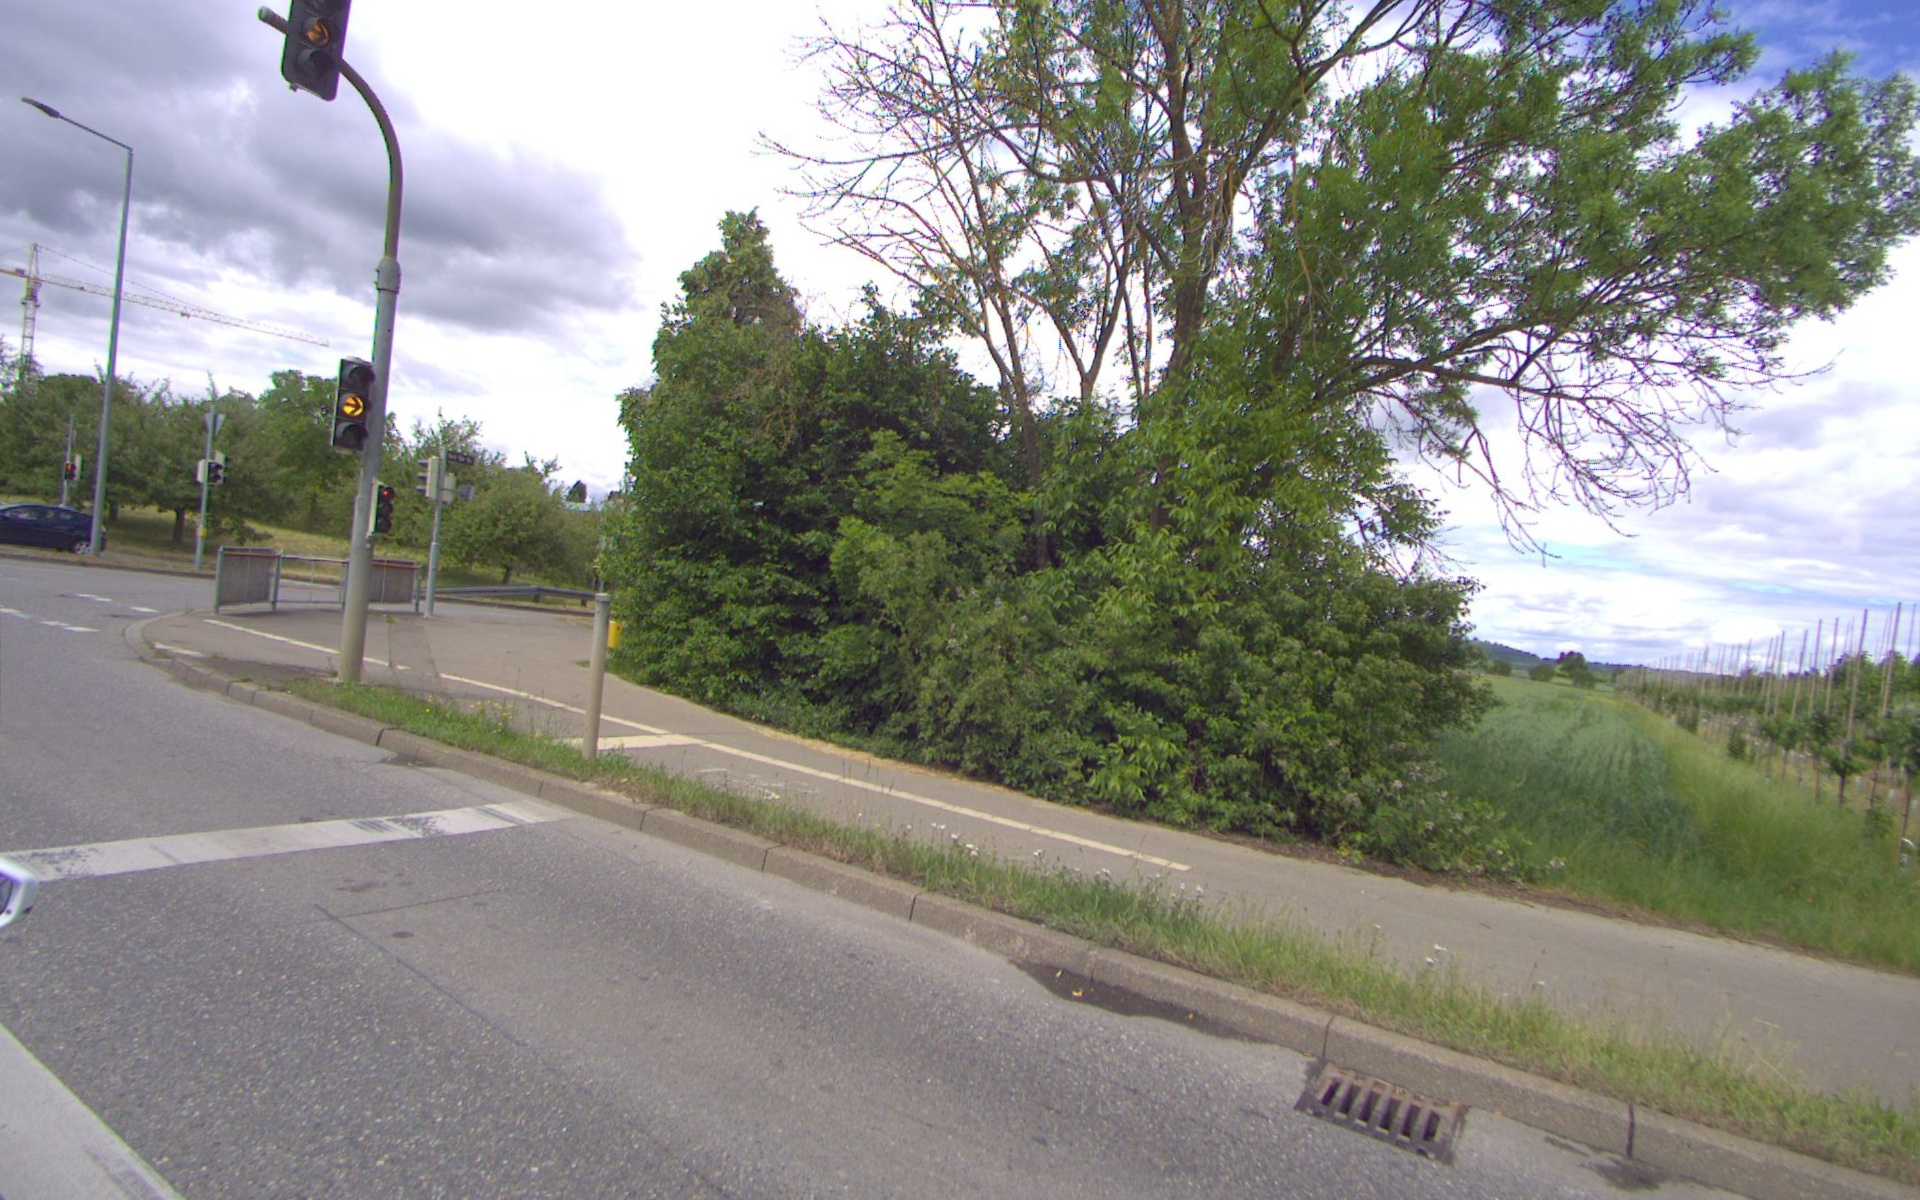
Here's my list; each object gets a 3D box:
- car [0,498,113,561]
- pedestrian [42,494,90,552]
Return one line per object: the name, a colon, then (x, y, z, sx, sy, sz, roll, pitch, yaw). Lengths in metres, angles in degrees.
car: (-28.031, -2.206, 29.964, 1.732, 1.463, 3.884, 6, -2, 34)
pedestrian: (-30.686, -2.642, 34.530, 1.025, 1.813, 0.720, 7, -1, 25)
